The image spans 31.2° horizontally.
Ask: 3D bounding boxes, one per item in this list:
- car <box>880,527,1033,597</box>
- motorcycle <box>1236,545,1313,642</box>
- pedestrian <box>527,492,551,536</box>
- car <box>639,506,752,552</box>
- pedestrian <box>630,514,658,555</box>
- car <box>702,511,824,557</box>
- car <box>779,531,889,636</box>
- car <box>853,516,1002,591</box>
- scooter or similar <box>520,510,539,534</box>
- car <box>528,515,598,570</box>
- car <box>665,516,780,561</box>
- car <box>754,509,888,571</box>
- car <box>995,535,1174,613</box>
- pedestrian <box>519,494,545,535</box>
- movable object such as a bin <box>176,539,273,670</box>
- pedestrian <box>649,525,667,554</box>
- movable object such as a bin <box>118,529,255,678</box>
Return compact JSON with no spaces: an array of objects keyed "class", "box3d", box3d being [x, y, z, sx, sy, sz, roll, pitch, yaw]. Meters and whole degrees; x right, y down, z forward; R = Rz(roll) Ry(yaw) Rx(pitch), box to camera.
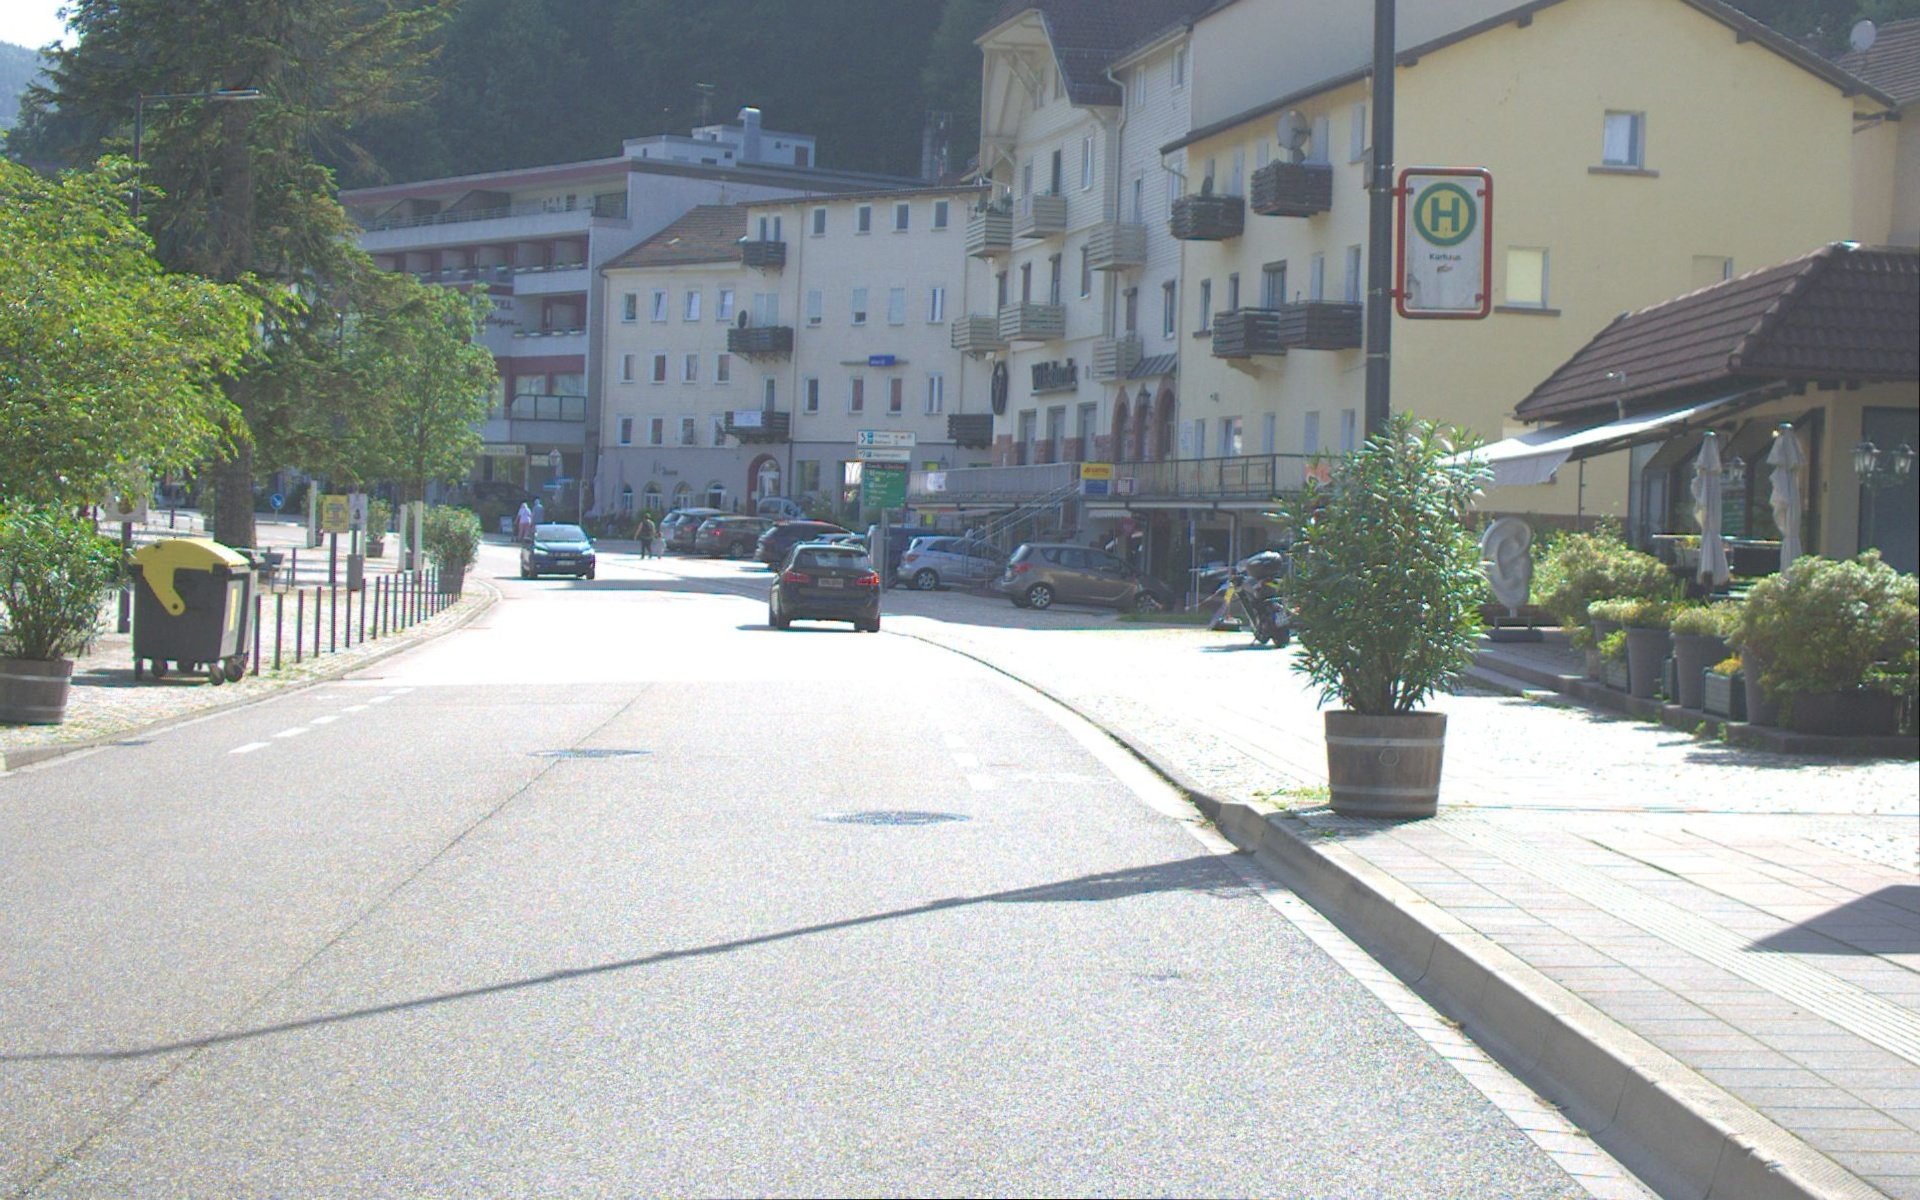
[{"class":"car","box3d":[-0.104,-1.071,96.165,3.908,1.583,1.775,4,1,-10]},{"class":"motorcycle","box3d":[4.347,-0.109,47.717,0.697,1.292,2.212,-1,1,-4]},{"class":"pedestrian","box3d":[-17.073,-3.477,139.338,0.669,1.722,0.707,2,2,-33]},{"class":"car","box3d":[-10.041,-2.696,130.523,3.861,1.607,1.773,-2,4,-30]},{"class":"pedestrian","box3d":[-11.154,-2.326,121.354,0.735,1.437,0.633,-1,3,-36]},{"class":"car","box3d":[-7.083,-2.387,123.571,4.009,1.511,1.773,-2,4,-30]},{"class":"car","box3d":[-2.250,-0.316,60.673,1.727,1.569,3.754,3,3,-4]},{"class":"car","box3d":[-0.948,-1.346,98.841,3.908,1.798,1.858,5,0,-10]},{"class":"scooter or similar","box3d":[-17.332,-3.133,138.441,0.596,0.947,0.474,2,2,-33]},{"class":"car","box3d":[-10.835,-1.588,94.018,1.741,1.457,4.188,0,1,-5]},{"class":"car","box3d":[-8.790,-2.290,127.508,3.861,1.544,1.773,-2,4,-30]},{"class":"car","box3d":[-4.560,-1.976,112.604,4.083,1.660,1.773,5,1,-10]},{"class":"car","box3d":[2.978,-0.637,82.600,3.858,1.549,1.761,4,1,-13]},{"class":"pedestrian","box3d":[-17.225,-3.452,138.291,0.757,1.588,0.628,2,2,-33]},{"class":"movable object such as a bin","box3d":[-7.933,0.040,37.127,0.755,1.337,1.295,4,1,-3]},{"class":"pedestrian","box3d":[-10.676,-2.142,121.627,0.417,0.998,0.531,-1,3,-36]},{"class":"movable object such as a bin","box3d":[-7.913,0.025,35.237,1.078,1.422,1.377,4,1,-3]}]
